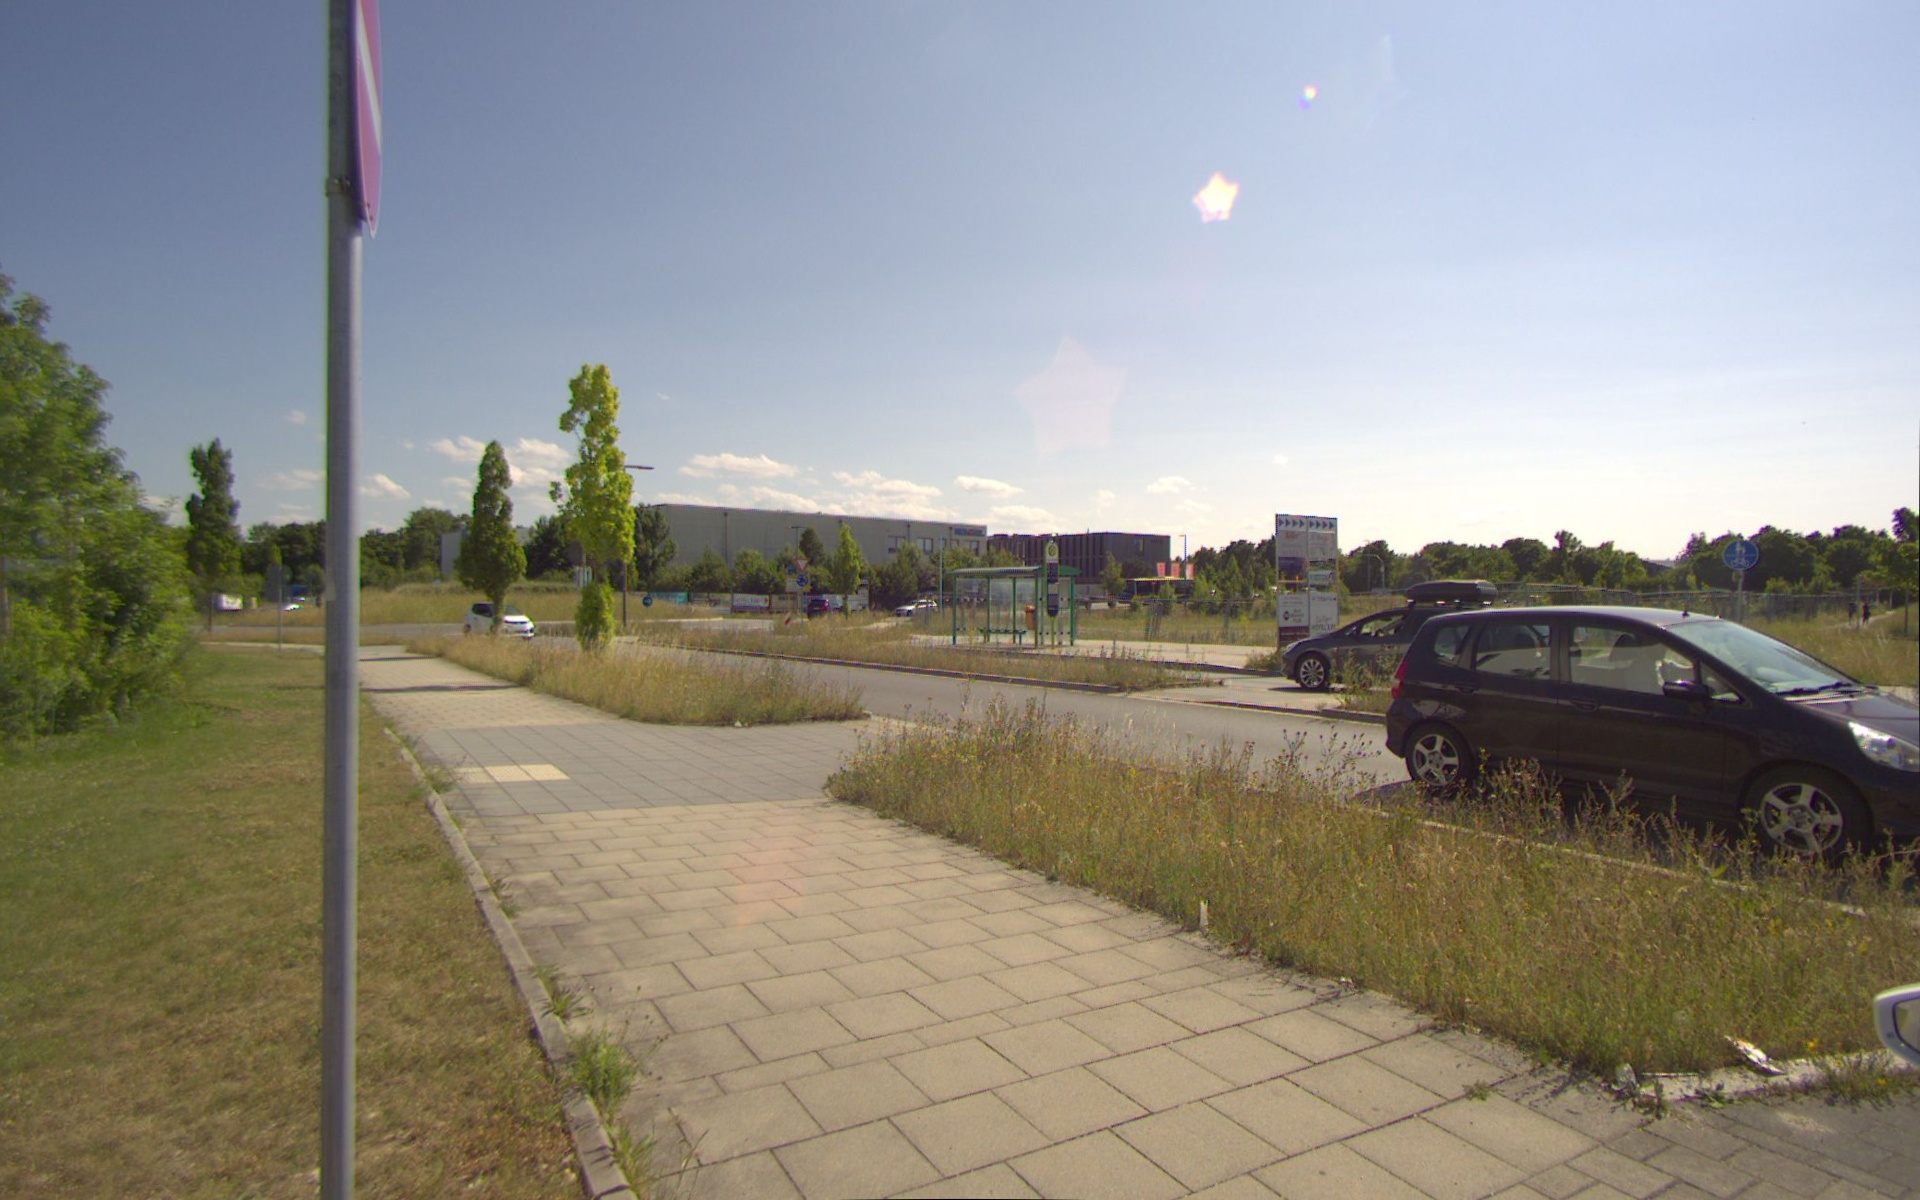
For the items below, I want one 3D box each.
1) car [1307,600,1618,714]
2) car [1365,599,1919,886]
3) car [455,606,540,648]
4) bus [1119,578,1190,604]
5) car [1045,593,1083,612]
[{"bbox_3d":[8.111,0.815,16.472,1.987,1.537,4.141,1,1,-44],"label":"car"},{"bbox_3d":[5.300,0.788,7.525,1.977,1.571,3.811,0,0,-31],"label":"car"},{"bbox_3d":[-17.933,1.035,38.961,2.946,1.510,1.477,-1,2,28],"label":"car"},{"bbox_3d":[22.435,-1.028,115.376,2.543,2.772,11.506,1,1,42],"label":"bus"},{"bbox_3d":[10.634,0.241,102.612,1.802,1.885,3.978,2,1,42],"label":"car"}]
